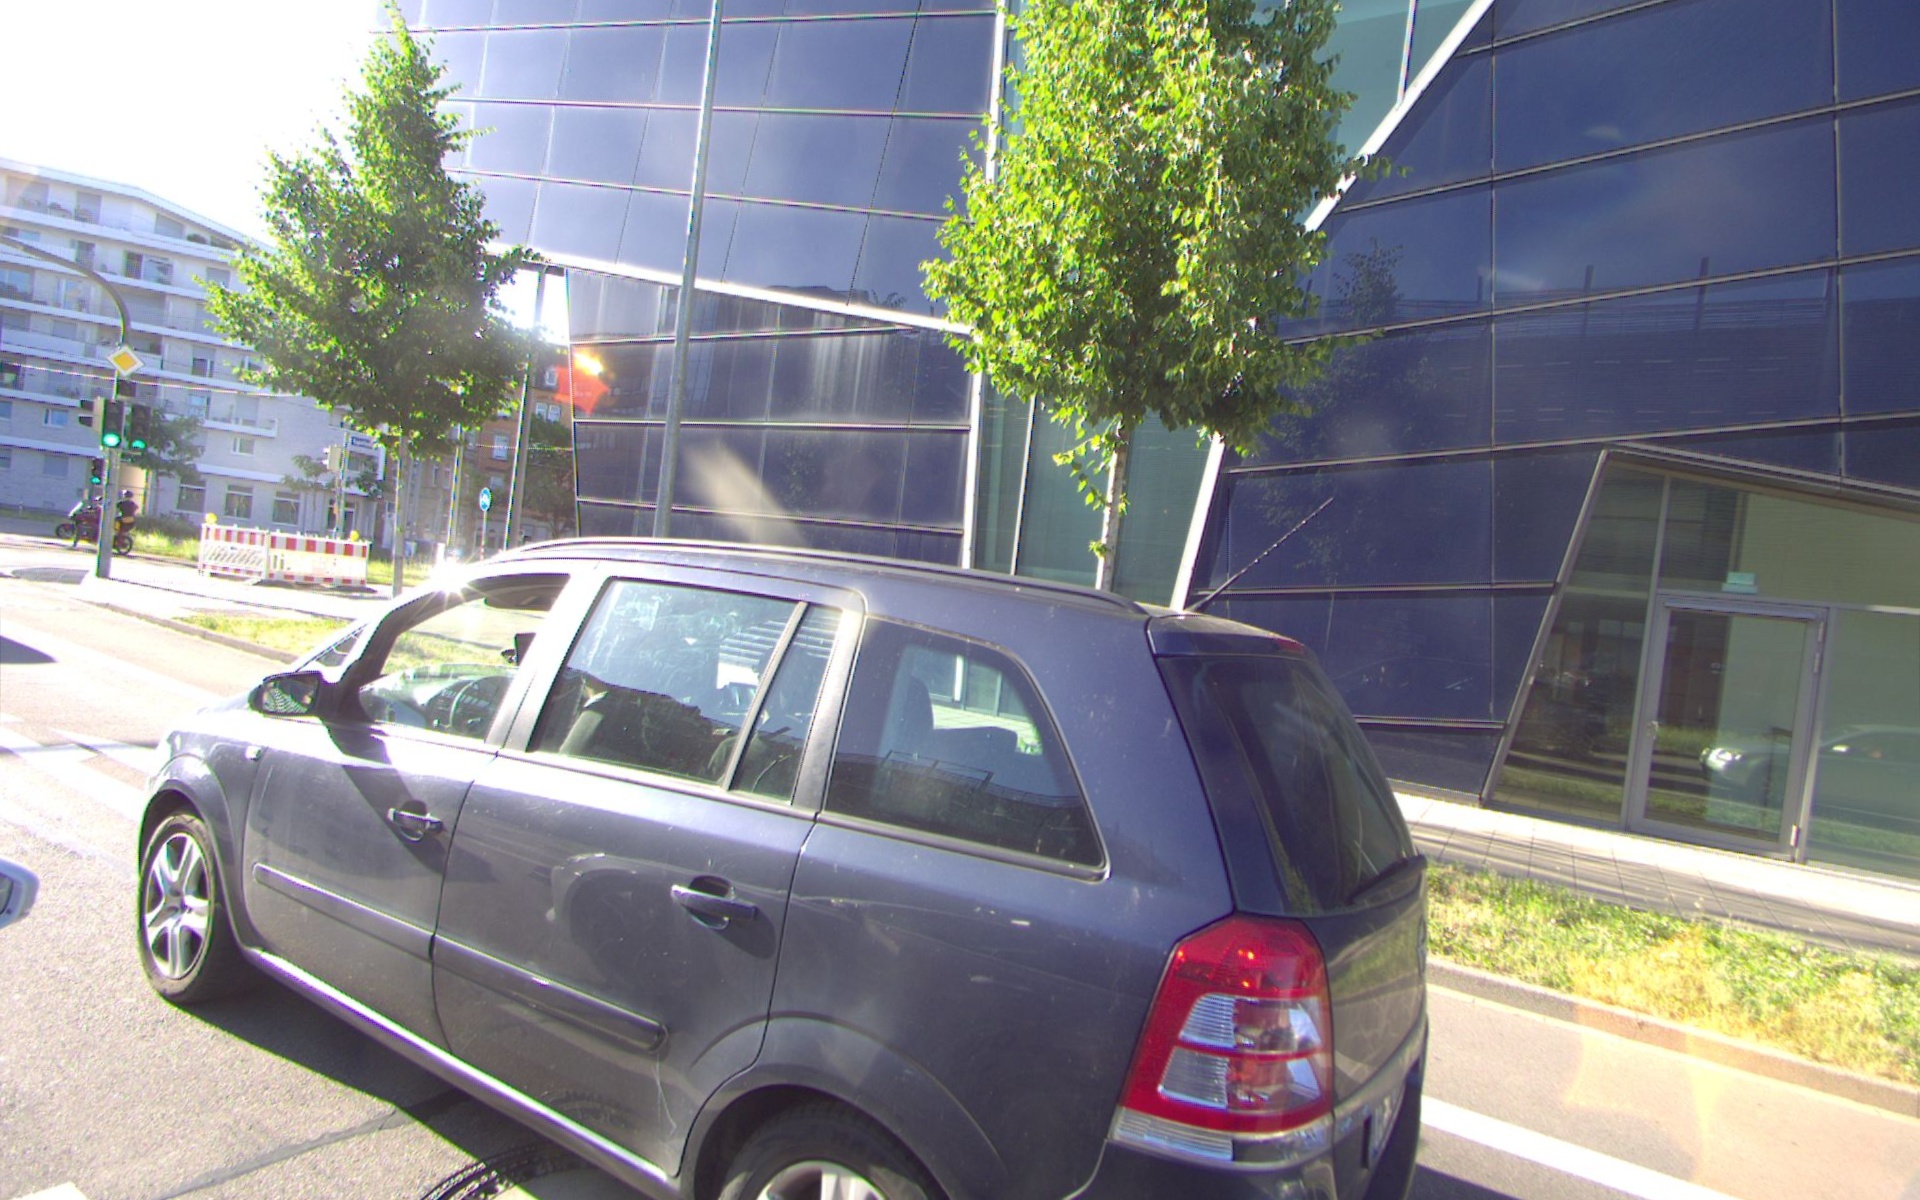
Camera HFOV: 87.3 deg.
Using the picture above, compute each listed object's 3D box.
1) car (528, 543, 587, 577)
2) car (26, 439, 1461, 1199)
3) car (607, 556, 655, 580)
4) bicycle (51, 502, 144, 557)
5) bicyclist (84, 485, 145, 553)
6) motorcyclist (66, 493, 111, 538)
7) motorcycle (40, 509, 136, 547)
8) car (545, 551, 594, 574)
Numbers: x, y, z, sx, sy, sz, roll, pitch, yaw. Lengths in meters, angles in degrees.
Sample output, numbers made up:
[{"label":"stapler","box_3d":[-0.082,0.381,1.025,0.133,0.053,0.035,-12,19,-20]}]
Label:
[{"label":"car","box_3d":[-35.371,-3.521,88.458,4.542,2.339,1.989,7,0,-23]},{"label":"car","box_3d":[-0.899,0.592,3.173,4.189,1.715,1.750,7,-2,31]},{"label":"car","box_3d":[-27.148,-2.649,82.954,3.944,1.505,1.990,6,0,41]},{"label":"bicycle","box_3d":[-24.421,-1.989,28.501,2.042,1.278,0.769,7,1,8]},{"label":"bicyclist","box_3d":[-23.870,-2.274,28.418,0.912,1.728,0.768,7,1,8]},{"label":"motorcyclist","box_3d":[-32.660,-3.156,37.709,1.153,1.500,0.925,7,1,35]},{"label":"motorcycle","box_3d":[-32.691,-2.690,37.760,1.153,1.013,2.454,7,0,34]},{"label":"car","box_3d":[-31.198,-2.988,80.281,3.944,1.371,1.990,6,0,41]}]
